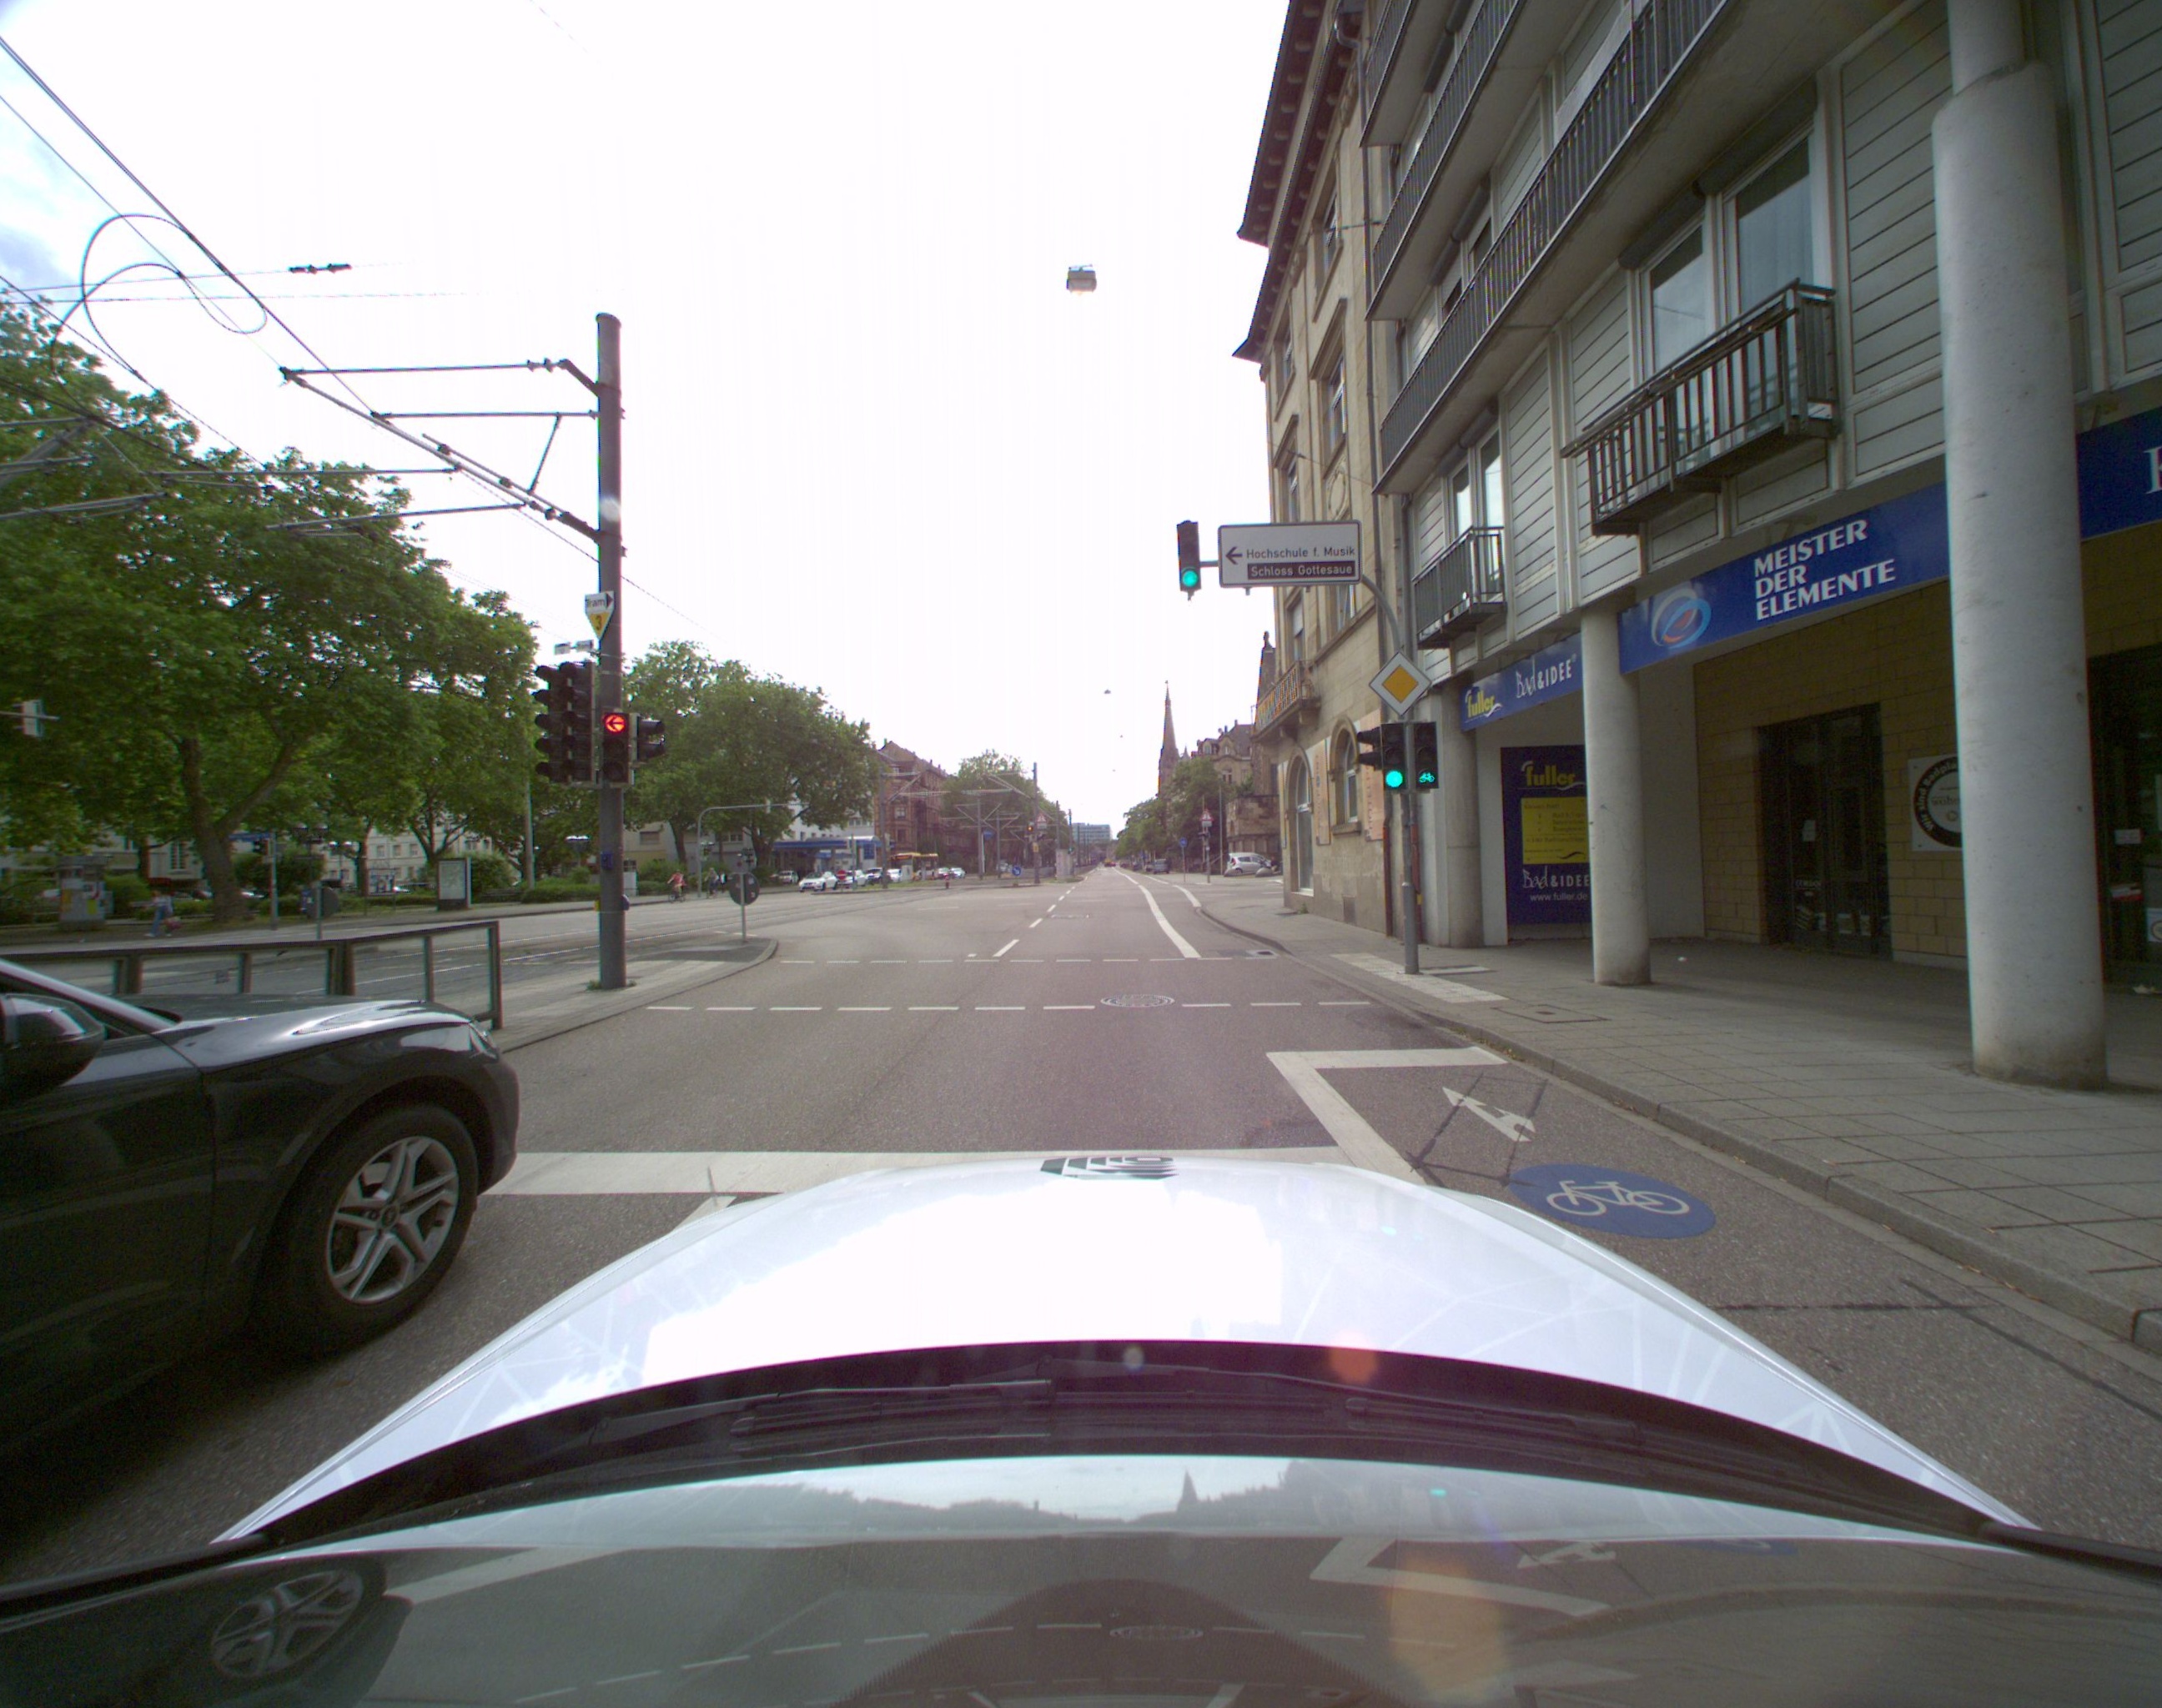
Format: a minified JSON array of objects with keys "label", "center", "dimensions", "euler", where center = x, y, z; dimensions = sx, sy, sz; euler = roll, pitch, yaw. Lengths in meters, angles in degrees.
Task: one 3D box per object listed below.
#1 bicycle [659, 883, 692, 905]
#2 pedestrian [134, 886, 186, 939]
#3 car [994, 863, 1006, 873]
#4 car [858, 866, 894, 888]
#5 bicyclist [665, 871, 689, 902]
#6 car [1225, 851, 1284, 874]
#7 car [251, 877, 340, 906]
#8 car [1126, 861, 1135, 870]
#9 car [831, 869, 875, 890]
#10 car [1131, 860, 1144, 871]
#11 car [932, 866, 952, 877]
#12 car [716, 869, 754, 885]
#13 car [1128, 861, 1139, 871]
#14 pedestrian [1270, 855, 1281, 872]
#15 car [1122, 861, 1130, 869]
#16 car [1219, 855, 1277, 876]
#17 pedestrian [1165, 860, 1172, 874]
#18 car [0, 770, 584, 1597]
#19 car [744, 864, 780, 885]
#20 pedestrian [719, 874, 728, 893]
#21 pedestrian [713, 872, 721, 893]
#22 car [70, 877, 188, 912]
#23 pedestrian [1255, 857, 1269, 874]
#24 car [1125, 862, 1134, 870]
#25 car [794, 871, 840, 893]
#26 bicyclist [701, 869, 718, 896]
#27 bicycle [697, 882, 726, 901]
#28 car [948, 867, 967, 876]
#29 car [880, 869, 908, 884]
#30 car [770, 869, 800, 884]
[{"label":"bicycle","center":[-22.047,2.174,44.328],"dimensions":[0.724,1.064,1.993],"euler":[-4,-1,1]},{"label":"pedestrian","center":[-30.400,1.914,26.898],"dimensions":[0.802,1.690,0.755],"euler":[-2,-1,-3]},{"label":"car","center":[-14.931,2.568,149.752],"dimensions":[1.696,1.712,3.893],"euler":[0,-1,2]},{"label":"car","center":[-18.440,2.040,73.412],"dimensions":[1.695,1.783,5.152],"euler":[0,-1,2]},{"label":"bicyclist","center":[-22.083,1.758,44.484],"dimensions":[0.703,1.637,0.994],"euler":[-3,-1,1]},{"label":"car","center":[14.417,0.710,67.987],"dimensions":[4.593,1.881,1.663],"euler":[0,-1,1]},{"label":"car","center":[-64.658,3.084,67.137],"dimensions":[4.825,2.101,2.072],"euler":[-2,-1,-16]},{"label":"car","center":[11.573,2.619,190.736],"dimensions":[1.987,2.014,4.000],"euler":[0,-1,1]},{"label":"car","center":[-18.594,2.062,66.794],"dimensions":[1.834,1.526,5.704],"euler":[0,0,2]},{"label":"car","center":[9.494,1.935,136.062],"dimensions":[1.986,1.820,4.001],"euler":[-2,0,2]},{"label":"car","center":[-17.582,2.204,102.950],"dimensions":[1.696,1.358,3.893],"euler":[0,-1,2]},{"label":"car","center":[-34.903,2.301,82.339],"dimensions":[1.986,1.466,4.001],"euler":[-2,0,2]},{"label":"car","center":[11.082,2.513,172.273],"dimensions":[1.986,1.882,4.001],"euler":[-2,0,2]},{"label":"pedestrian","center":[14.577,0.714,61.085],"dimensions":[0.731,1.228,1.067],"euler":[-1,-1,16]},{"label":"car","center":[12.092,2.893,218.145],"dimensions":[1.987,2.014,4.000],"euler":[0,-1,1]},{"label":"car","center":[13.202,0.898,64.597],"dimensions":[4.333,1.636,1.663],"euler":[0,-1,1]},{"label":"pedestrian","center":[10.723,1.563,99.542],"dimensions":[0.772,1.647,0.800],"euler":[0,-1,8]},{"label":"car","center":[-3.122,0.659,1.269],"dimensions":[1.904,1.647,4.369],"euler":[0,-1,2]},{"label":"car","center":[-32.120,2.031,82.109],"dimensions":[1.986,2.014,4.001],"euler":[-2,-1,2]},{"label":"pedestrian","center":[-25.515,2.083,58.114],"dimensions":[0.454,1.326,0.469],"euler":[-1,-1,-5]},{"label":"pedestrian","center":[-25.922,2.025,57.988],"dimensions":[0.360,1.479,0.373],"euler":[-1,-1,-5]},{"label":"car","center":[-64.947,2.751,55.652],"dimensions":[4.825,2.101,2.072],"euler":[-2,-1,-16]},{"label":"pedestrian","center":[13.492,0.851,60.706],"dimensions":[0.734,1.191,1.494],"euler":[0,-1,2]},{"label":"car","center":[12.490,3.031,210.422],"dimensions":[1.987,1.926,4.000],"euler":[0,-1,1]},{"label":"car","center":[-19.315,2.024,59.736],"dimensions":[1.835,1.448,4.415],"euler":[0,-1,2]},{"label":"bicyclist","center":[-22.548,1.727,49.480],"dimensions":[0.581,1.562,0.757],"euler":[-4,-1,2]},{"label":"bicycle","center":[-22.470,2.286,49.557],"dimensions":[0.724,1.064,1.993],"euler":[-4,-1,2]},{"label":"car","center":[-16.683,2.356,110.091],"dimensions":[1.696,1.221,3.893],"euler":[0,0,2]},{"label":"car","center":[-18.270,2.197,79.906],"dimensions":[1.696,1.398,3.893],"euler":[0,-1,2]},{"label":"car","center":[-29.707,2.232,81.796],"dimensions":[1.696,1.358,3.406],"euler":[0,-1,2]}]
